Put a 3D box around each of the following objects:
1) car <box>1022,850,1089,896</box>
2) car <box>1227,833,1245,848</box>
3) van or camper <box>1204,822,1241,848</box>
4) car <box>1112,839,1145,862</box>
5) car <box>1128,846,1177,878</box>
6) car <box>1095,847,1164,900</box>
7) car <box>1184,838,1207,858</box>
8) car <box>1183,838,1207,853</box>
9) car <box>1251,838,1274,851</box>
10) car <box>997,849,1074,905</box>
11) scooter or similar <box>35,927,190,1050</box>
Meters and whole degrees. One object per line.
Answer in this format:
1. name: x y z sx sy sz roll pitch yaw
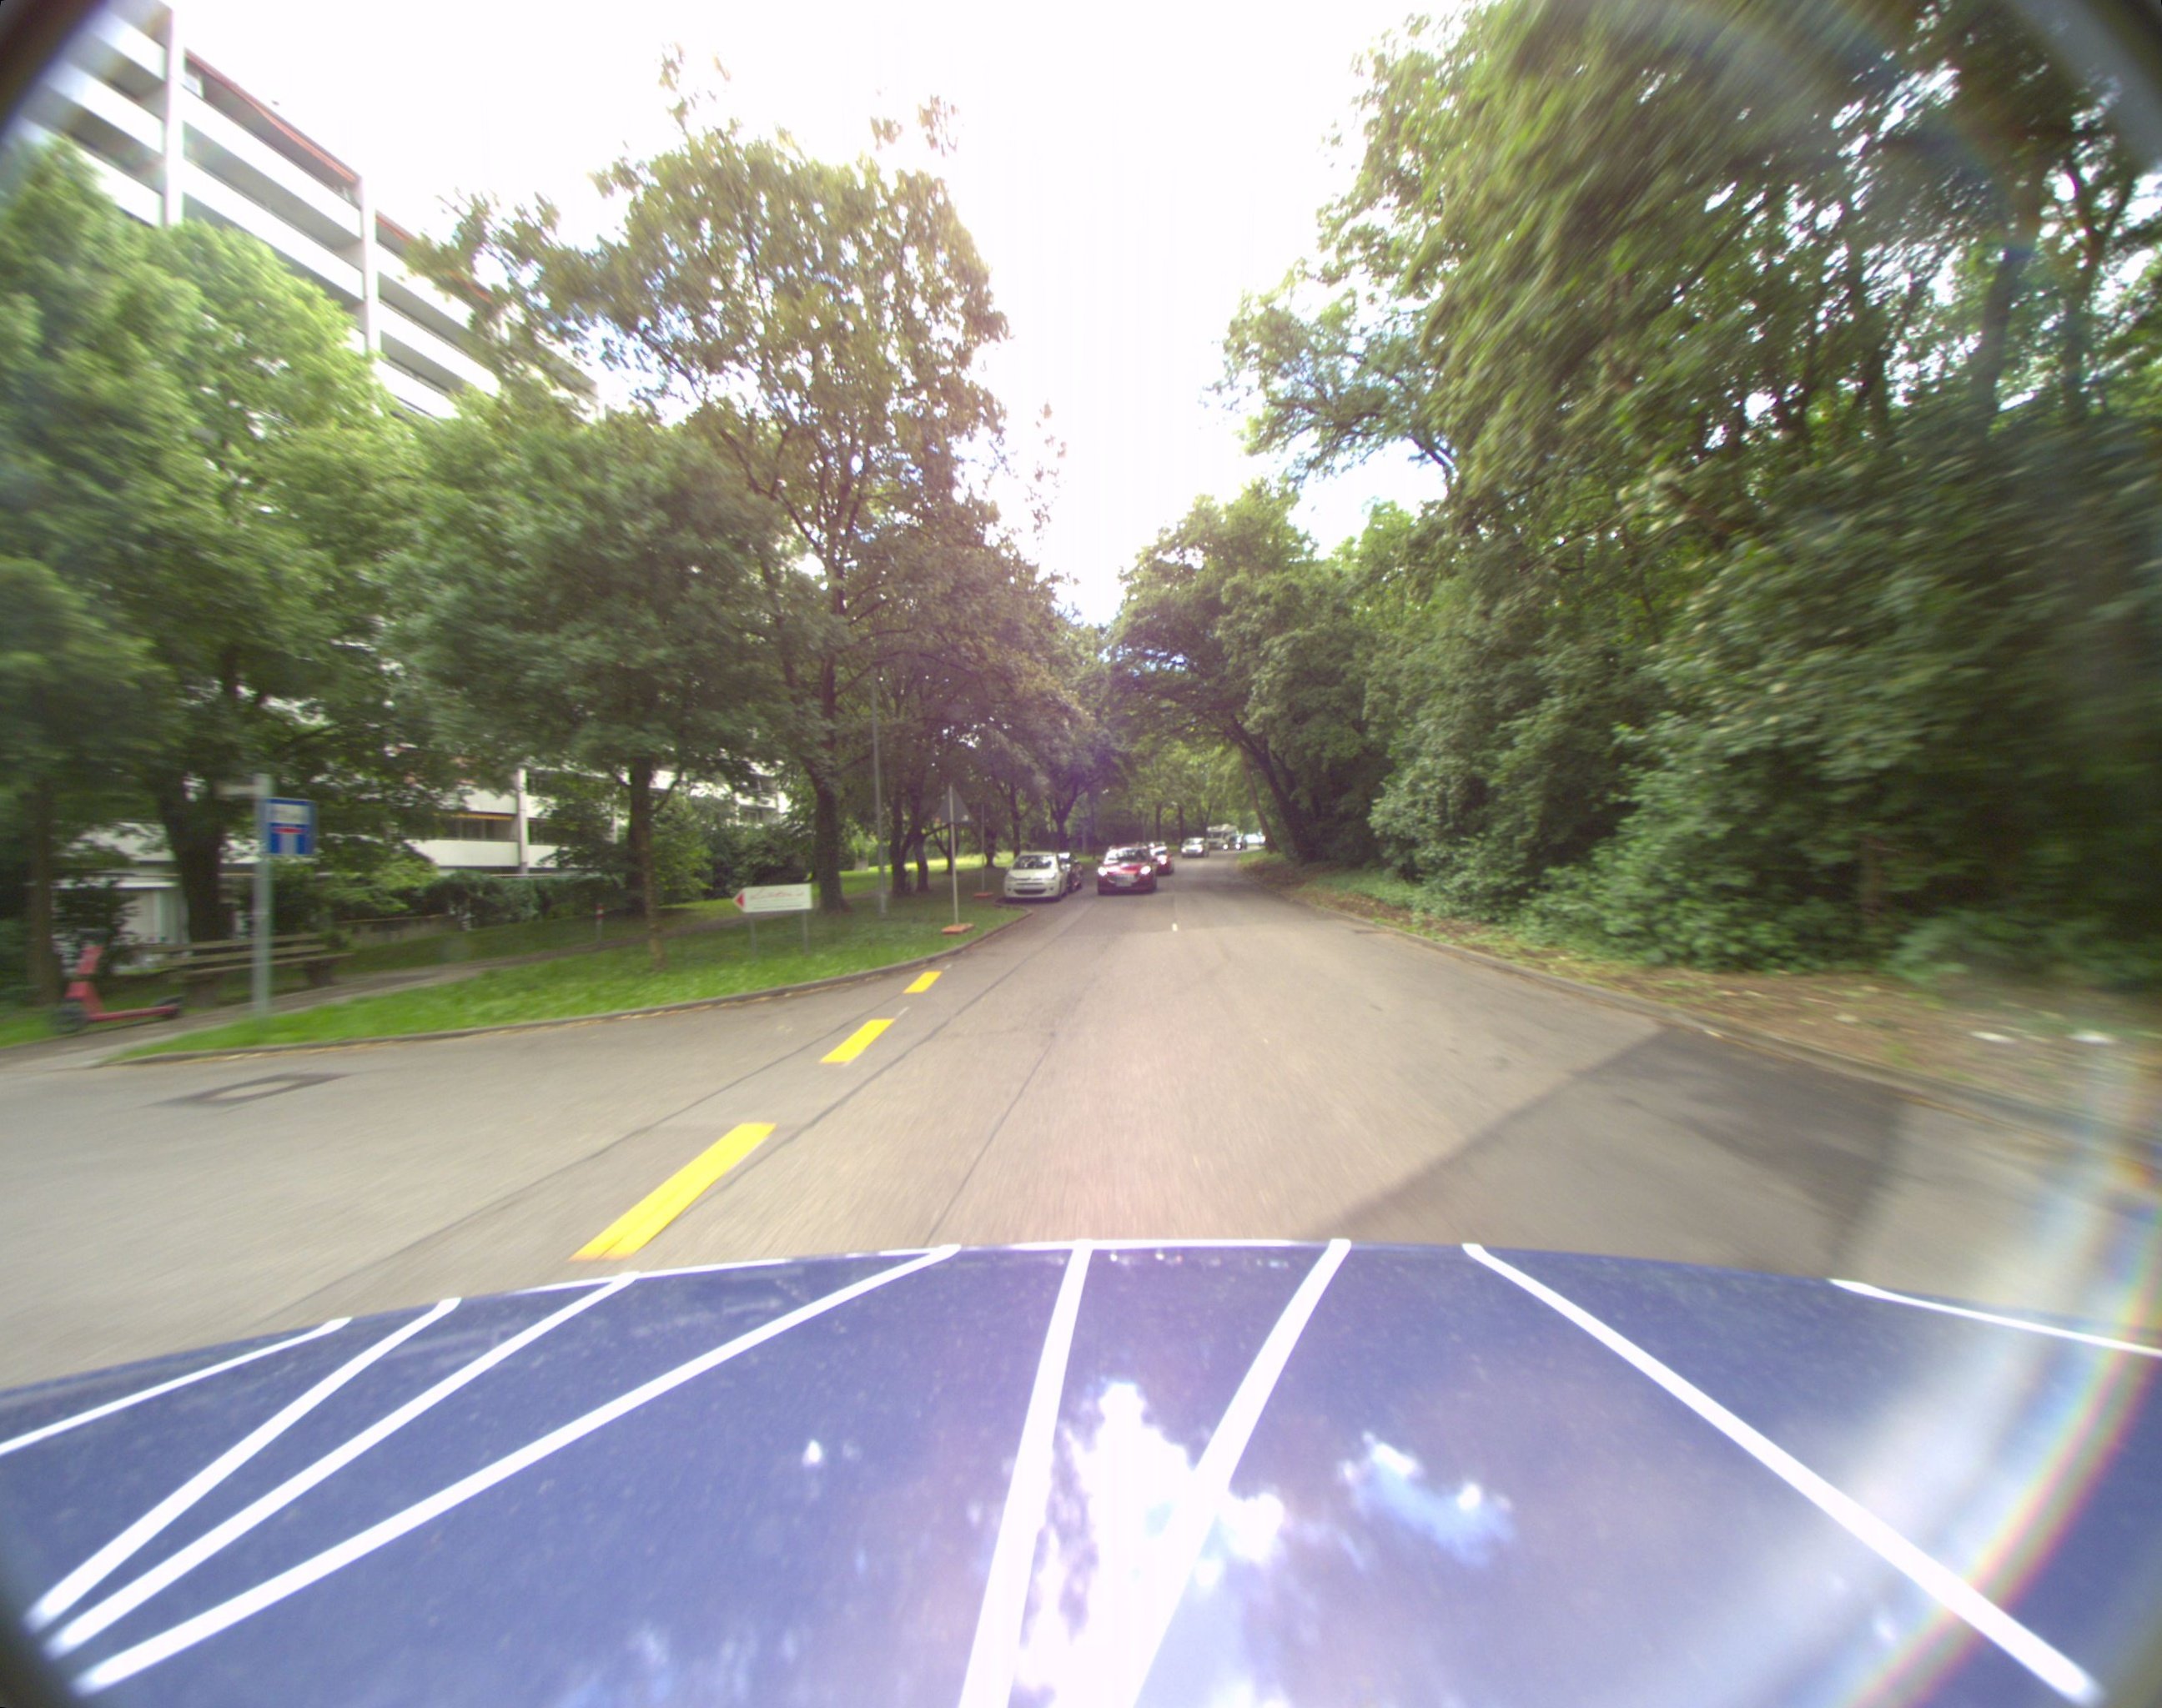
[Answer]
1. car: -0.863 0.659 28.819 1.777 1.514 4.185 -3 1 8
2. car: 16.925 -1.499 82.987 1.766 1.559 4.049 -3 1 13
3. van or camper: 17.298 -2.359 92.553 2.426 2.962 7.404 -2 1 27
4. car: 3.410 -0.254 53.588 1.685 1.456 3.901 -3 1 12
5. car: 3.738 0.374 40.356 1.958 1.464 4.675 -3 1 -2
6. car: 1.820 0.613 26.928 2.002 1.599 4.679 -3 1 8
7. car: 9.563 -0.527 63.192 1.653 1.559 4.048 -3 1 11
8. car: 12.263 -0.960 81.697 1.690 1.474 4.111 -3 1 20
9. car: 23.589 -1.251 98.730 1.764 1.559 4.052 -2 1 31
10. car: -1.367 0.678 24.177 1.777 1.514 3.782 -3 1 6
11. scooter or similar: -11.758 1.600 9.269 0.283 1.279 1.108 -3 1 8
